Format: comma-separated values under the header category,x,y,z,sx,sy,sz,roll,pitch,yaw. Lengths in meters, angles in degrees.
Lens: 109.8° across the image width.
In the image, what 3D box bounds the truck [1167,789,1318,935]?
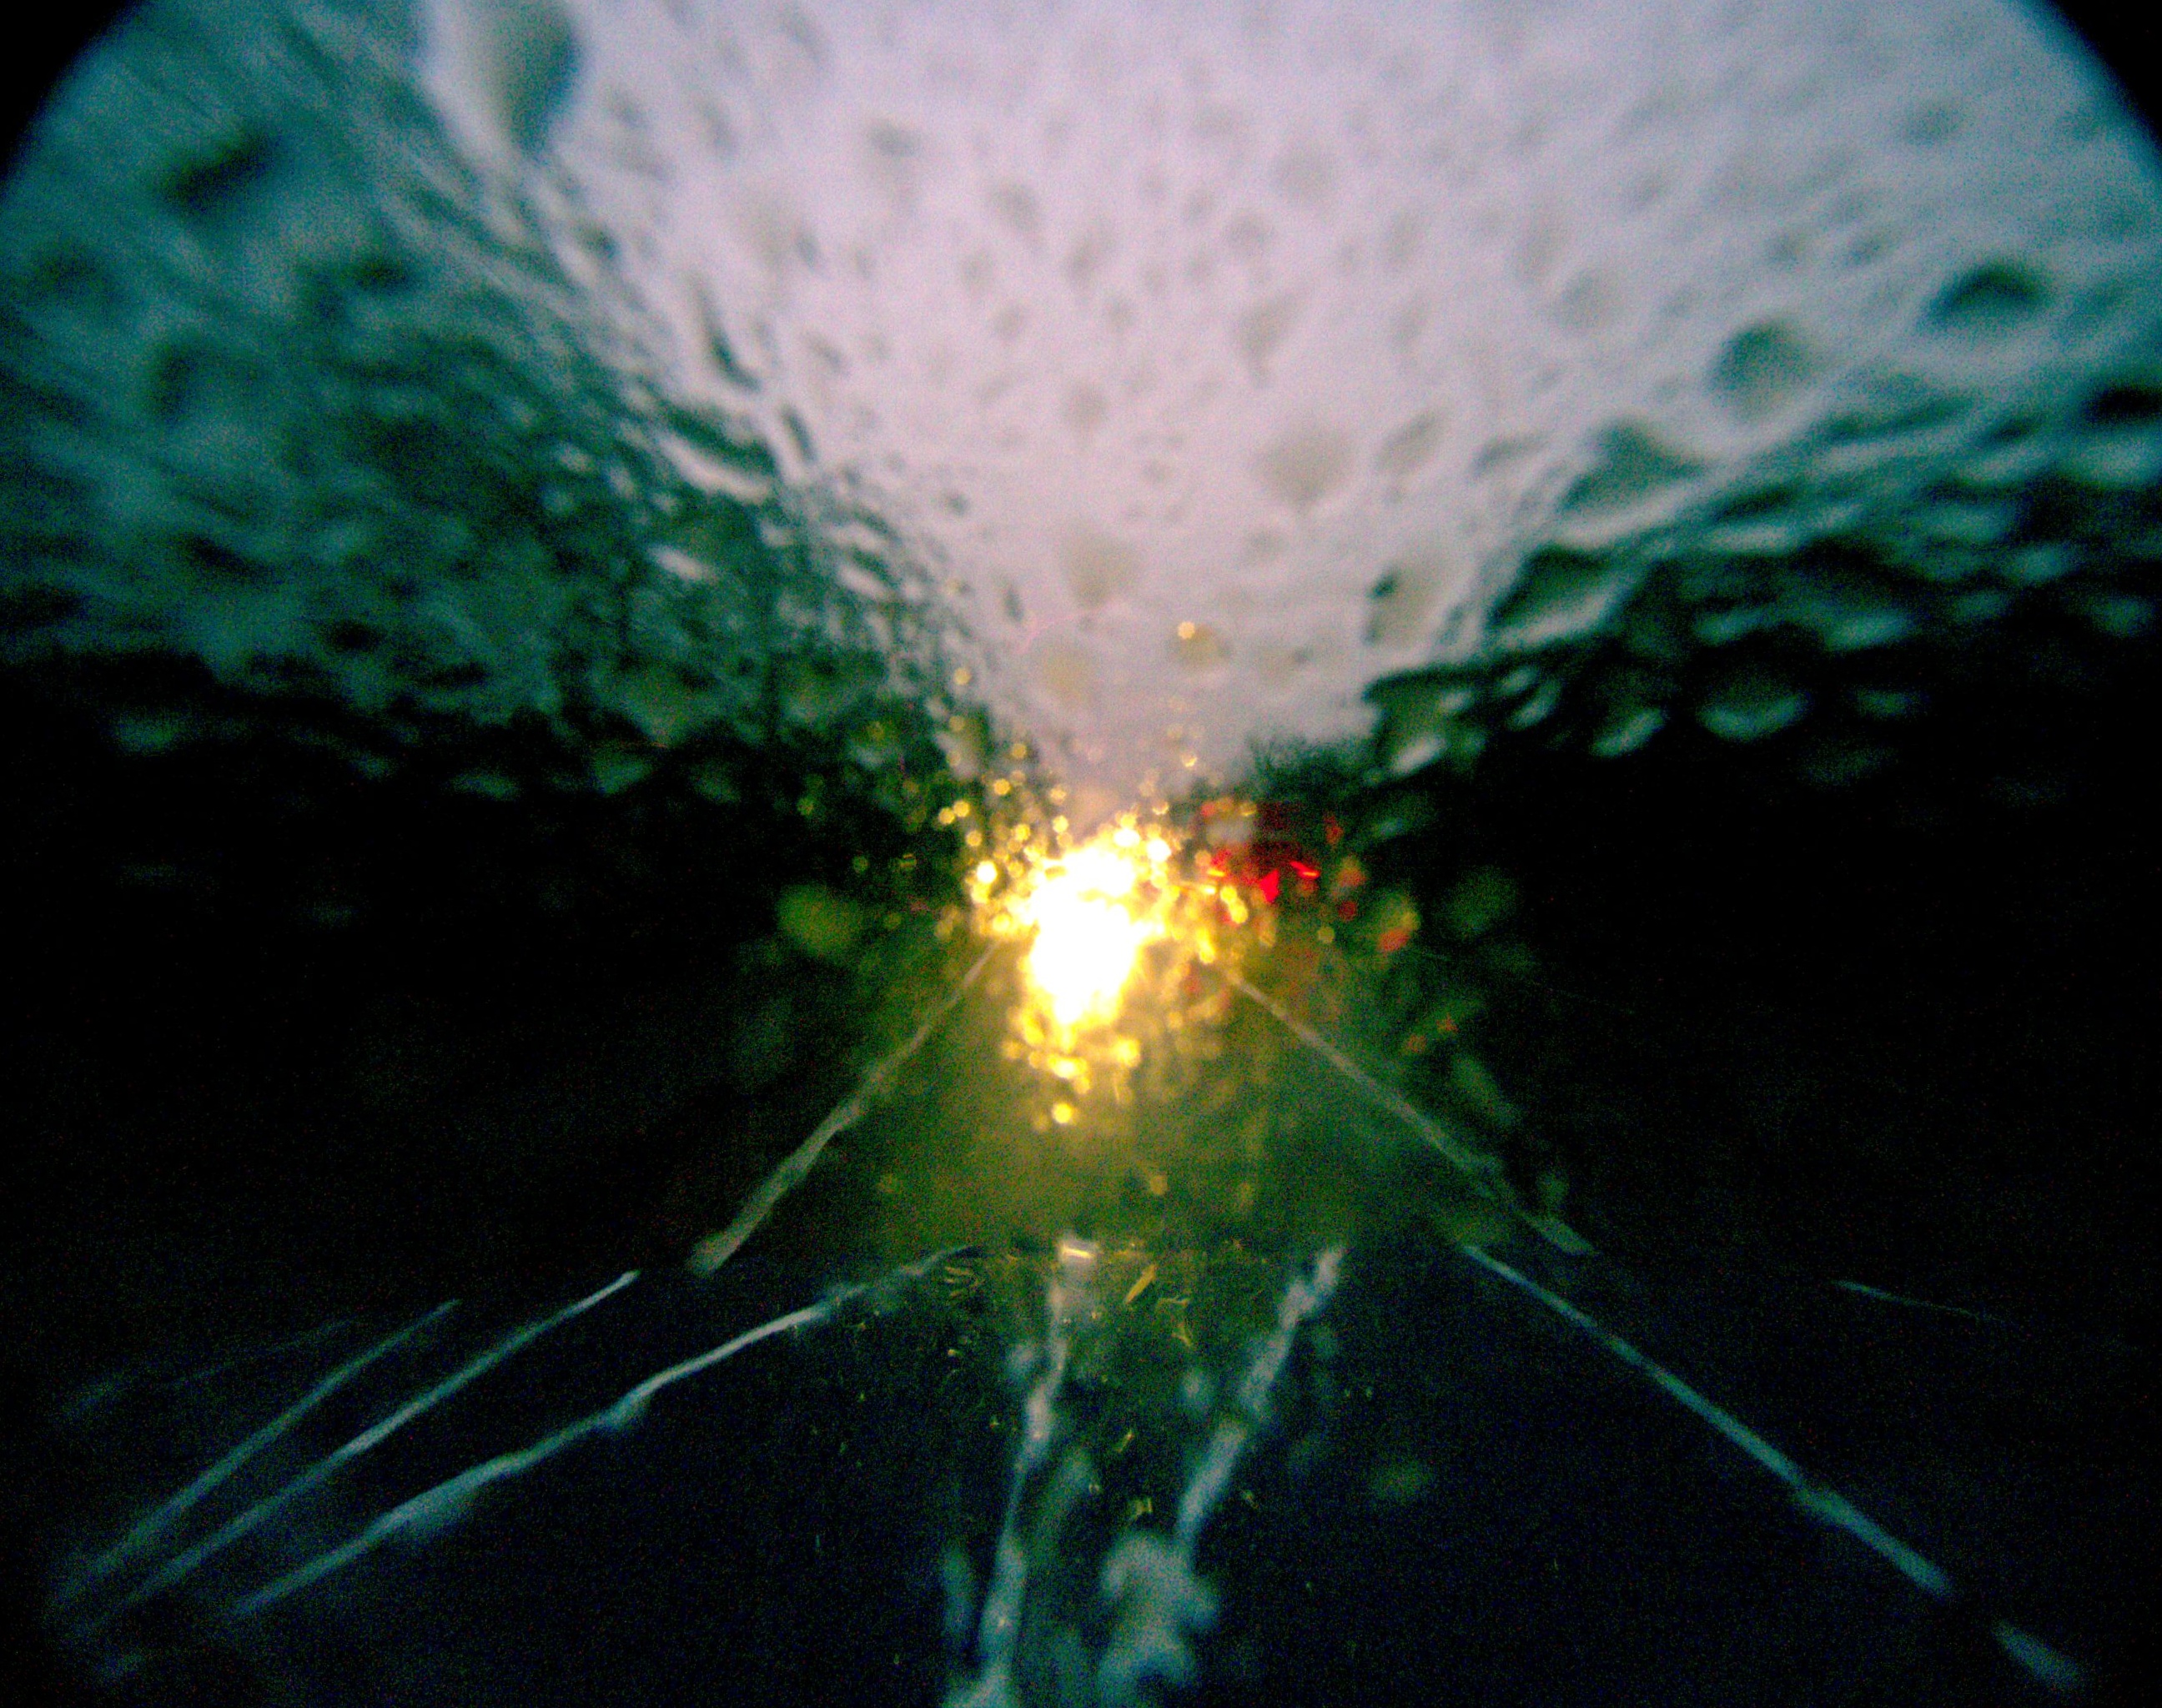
category,x,y,z,sx,sy,sz,roll,pitch,yaw
truck,3.541,0.150,18.274,2.108,2.755,6.871,-3,0,0

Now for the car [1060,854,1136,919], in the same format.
category,x,y,z,sx,sy,sz,roll,pitch,yaw
car,0.454,0.881,22.717,1.998,1.672,3.999,-3,1,0

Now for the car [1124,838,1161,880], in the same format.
category,x,y,z,sx,sy,sz,roll,pitch,yaw
car,4.394,0.312,54.985,2.079,2.794,6.652,-2,0,0
